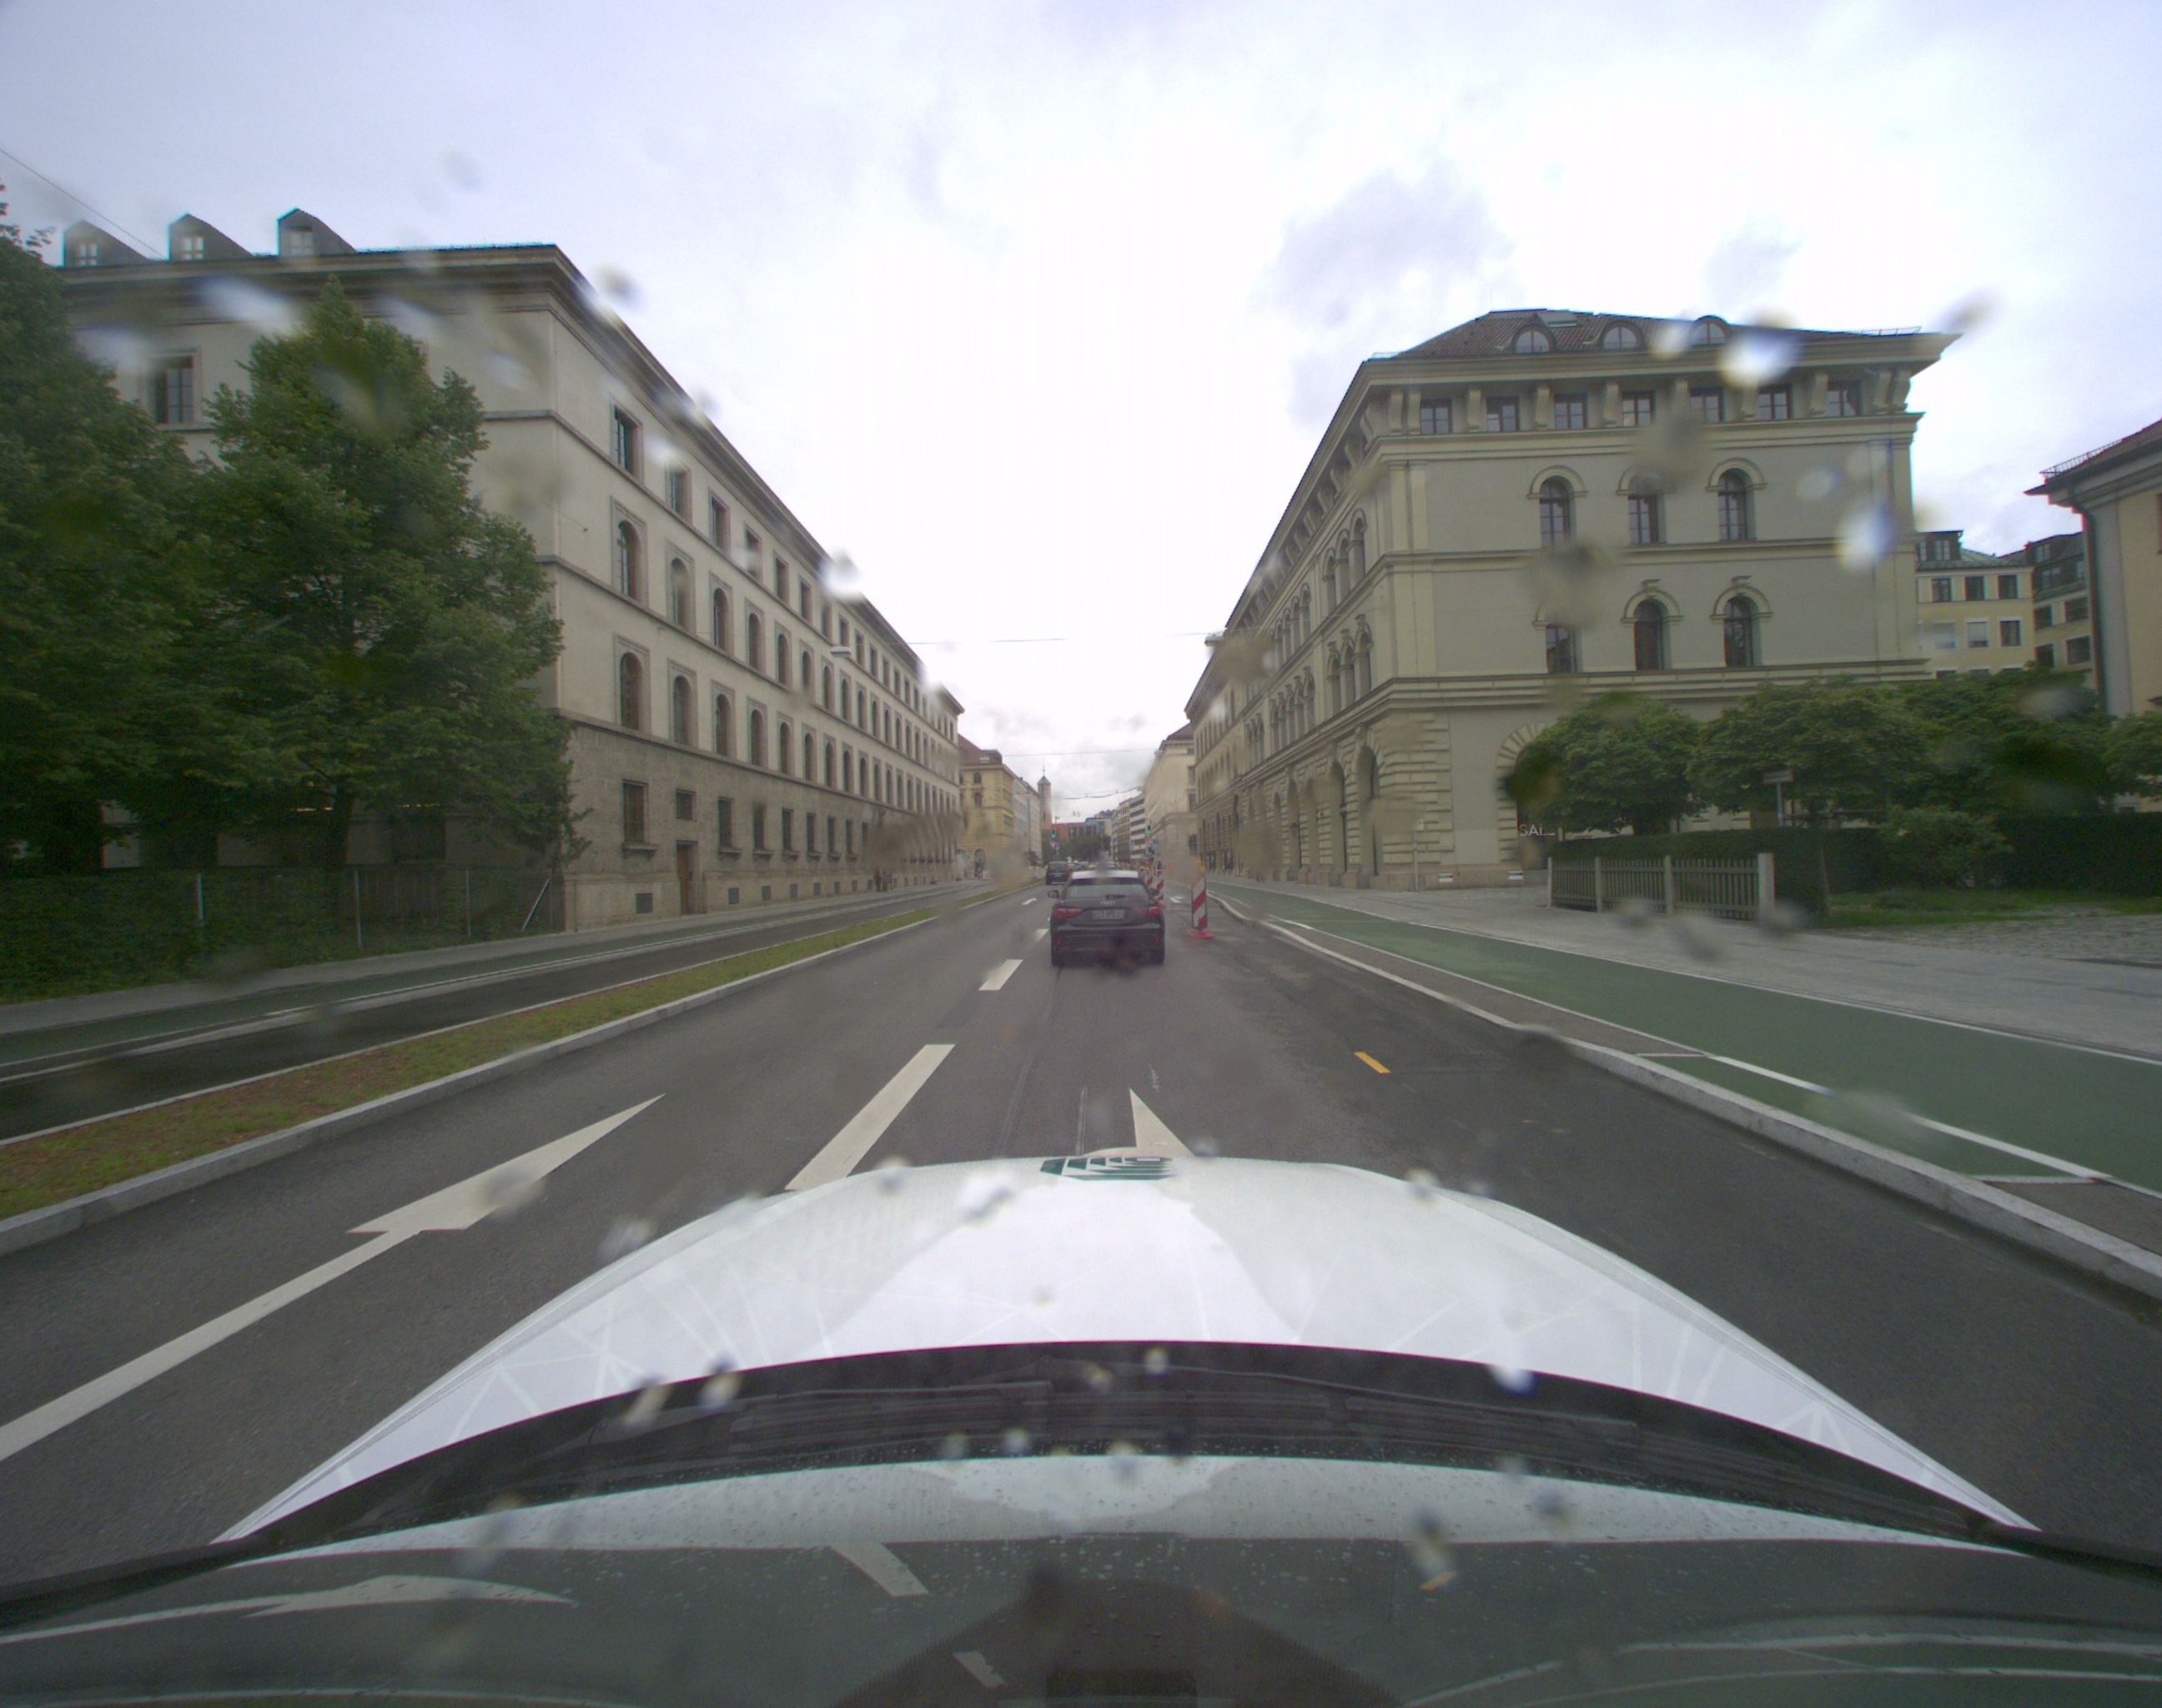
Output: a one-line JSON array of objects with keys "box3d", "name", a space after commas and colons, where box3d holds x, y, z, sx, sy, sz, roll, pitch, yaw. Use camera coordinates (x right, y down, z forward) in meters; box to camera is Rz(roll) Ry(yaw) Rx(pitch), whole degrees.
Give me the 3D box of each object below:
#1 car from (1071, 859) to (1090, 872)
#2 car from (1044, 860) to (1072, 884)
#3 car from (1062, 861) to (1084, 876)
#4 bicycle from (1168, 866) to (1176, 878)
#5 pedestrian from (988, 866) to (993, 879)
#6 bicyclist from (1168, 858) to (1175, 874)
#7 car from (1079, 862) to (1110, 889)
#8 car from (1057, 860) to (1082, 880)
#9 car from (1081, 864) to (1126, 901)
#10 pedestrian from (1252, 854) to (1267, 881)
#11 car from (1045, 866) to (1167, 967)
[{"box3d": [-0.045, 1.348, 95.163, 1.986, 1.444, 4.002, -2, -1, 2], "name": "car"}, {"box3d": [-1.595, 1.263, 58.384, 1.758, 1.616, 4.031, -1, -1, 1], "name": "car"}, {"box3d": [-0.778, 1.479, 82.815, 1.986, 1.444, 4.002, -2, -1, 2], "name": "car"}, {"box3d": [9.097, 1.796, 81.626, 0.725, 1.156, 2.174, -2, -1, 4], "name": "bicycle"}, {"box3d": [-12.976, 2.663, 116.983, 0.653, 1.805, 0.727, -2, -1, 1], "name": "pedestrian"}, {"box3d": [9.069, 1.199, 81.555, 0.706, 1.500, 0.755, -2, -1, 4], "name": "bicyclist"}, {"box3d": [0.793, 1.228, 47.558, 1.723, 1.461, 4.001, -1, -1, 2], "name": "car"}, {"box3d": [-0.975, 1.364, 70.963, 1.986, 1.627, 4.002, -2, -1, 2], "name": "car"}, {"box3d": [0.935, 1.125, 33.357, 1.723, 1.403, 4.001, -1, -1, 2], "name": "car"}, {"box3d": [10.987, 0.819, 50.046, 0.707, 1.618, 0.754, -2, -1, 1], "name": "pedestrian"}, {"box3d": [0.412, 0.920, 13.586, 1.723, 1.403, 4.001, -1, -1, 2], "name": "car"}]
